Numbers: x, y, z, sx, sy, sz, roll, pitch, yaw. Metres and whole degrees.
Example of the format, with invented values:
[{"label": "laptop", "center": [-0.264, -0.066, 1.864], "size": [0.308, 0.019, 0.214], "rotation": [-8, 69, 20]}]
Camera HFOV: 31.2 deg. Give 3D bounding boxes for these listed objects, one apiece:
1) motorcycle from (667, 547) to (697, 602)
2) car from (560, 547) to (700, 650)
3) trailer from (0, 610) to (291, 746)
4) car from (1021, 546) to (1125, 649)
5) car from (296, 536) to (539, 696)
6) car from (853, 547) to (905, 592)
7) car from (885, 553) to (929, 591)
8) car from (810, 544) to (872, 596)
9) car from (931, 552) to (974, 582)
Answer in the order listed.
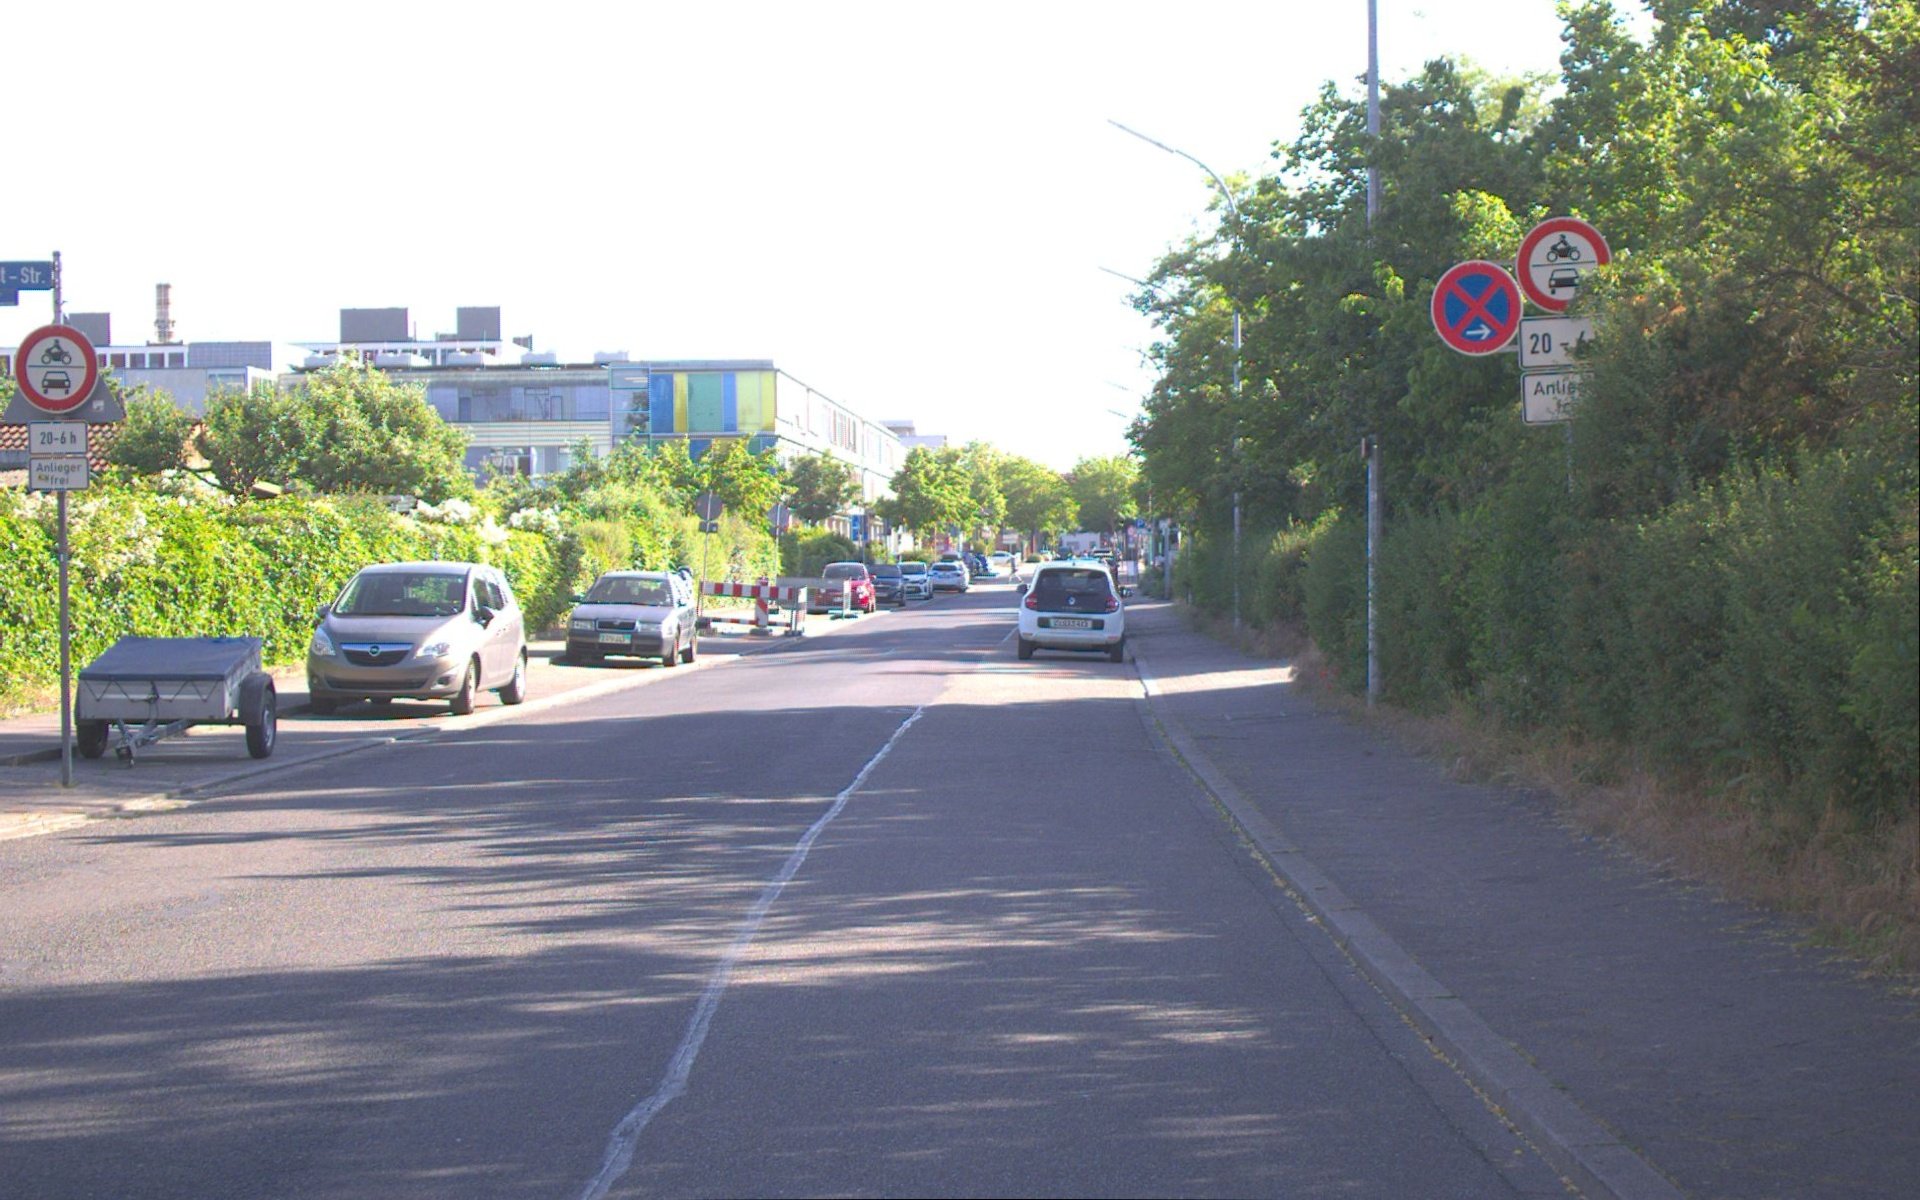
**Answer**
[{"label": "motorcycle", "center": [-6.534, -0.591, 80.827], "size": [0.566, 1.264, 2.091], "rotation": [1, 0, -2]}, {"label": "car", "center": [-5.226, -0.050, 54.933], "size": [1.643, 1.551, 4.417], "rotation": [-1, 1, 2]}, {"label": "trailer", "center": [-6.388, 0.585, 26.998], "size": [1.544, 0.950, 2.647], "rotation": [1, 1, 5]}, {"label": "car", "center": [1.811, -0.066, 54.671], "size": [1.556, 1.533, 3.555], "rotation": [2, 1, 2]}, {"label": "car", "center": [-5.809, 0.134, 37.258], "size": [1.644, 1.594, 4.311], "rotation": [1, 1, 4]}, {"label": "car", "center": [-2.818, -1.061, 119.893], "size": [1.560, 1.489, 3.570], "rotation": [2, 1, 2]}, {"label": "car", "center": [-2.092, -1.130, 136.923], "size": [1.560, 1.489, 3.758], "rotation": [-1, 1, 2]}, {"label": "car", "center": [-3.492, -0.903, 101.557], "size": [1.560, 1.489, 3.570], "rotation": [-1, 1, 2]}, {"label": "car", "center": [-0.348, -1.601, 166.302], "size": [1.854, 1.423, 4.134], "rotation": [1, 1, 2]}]
